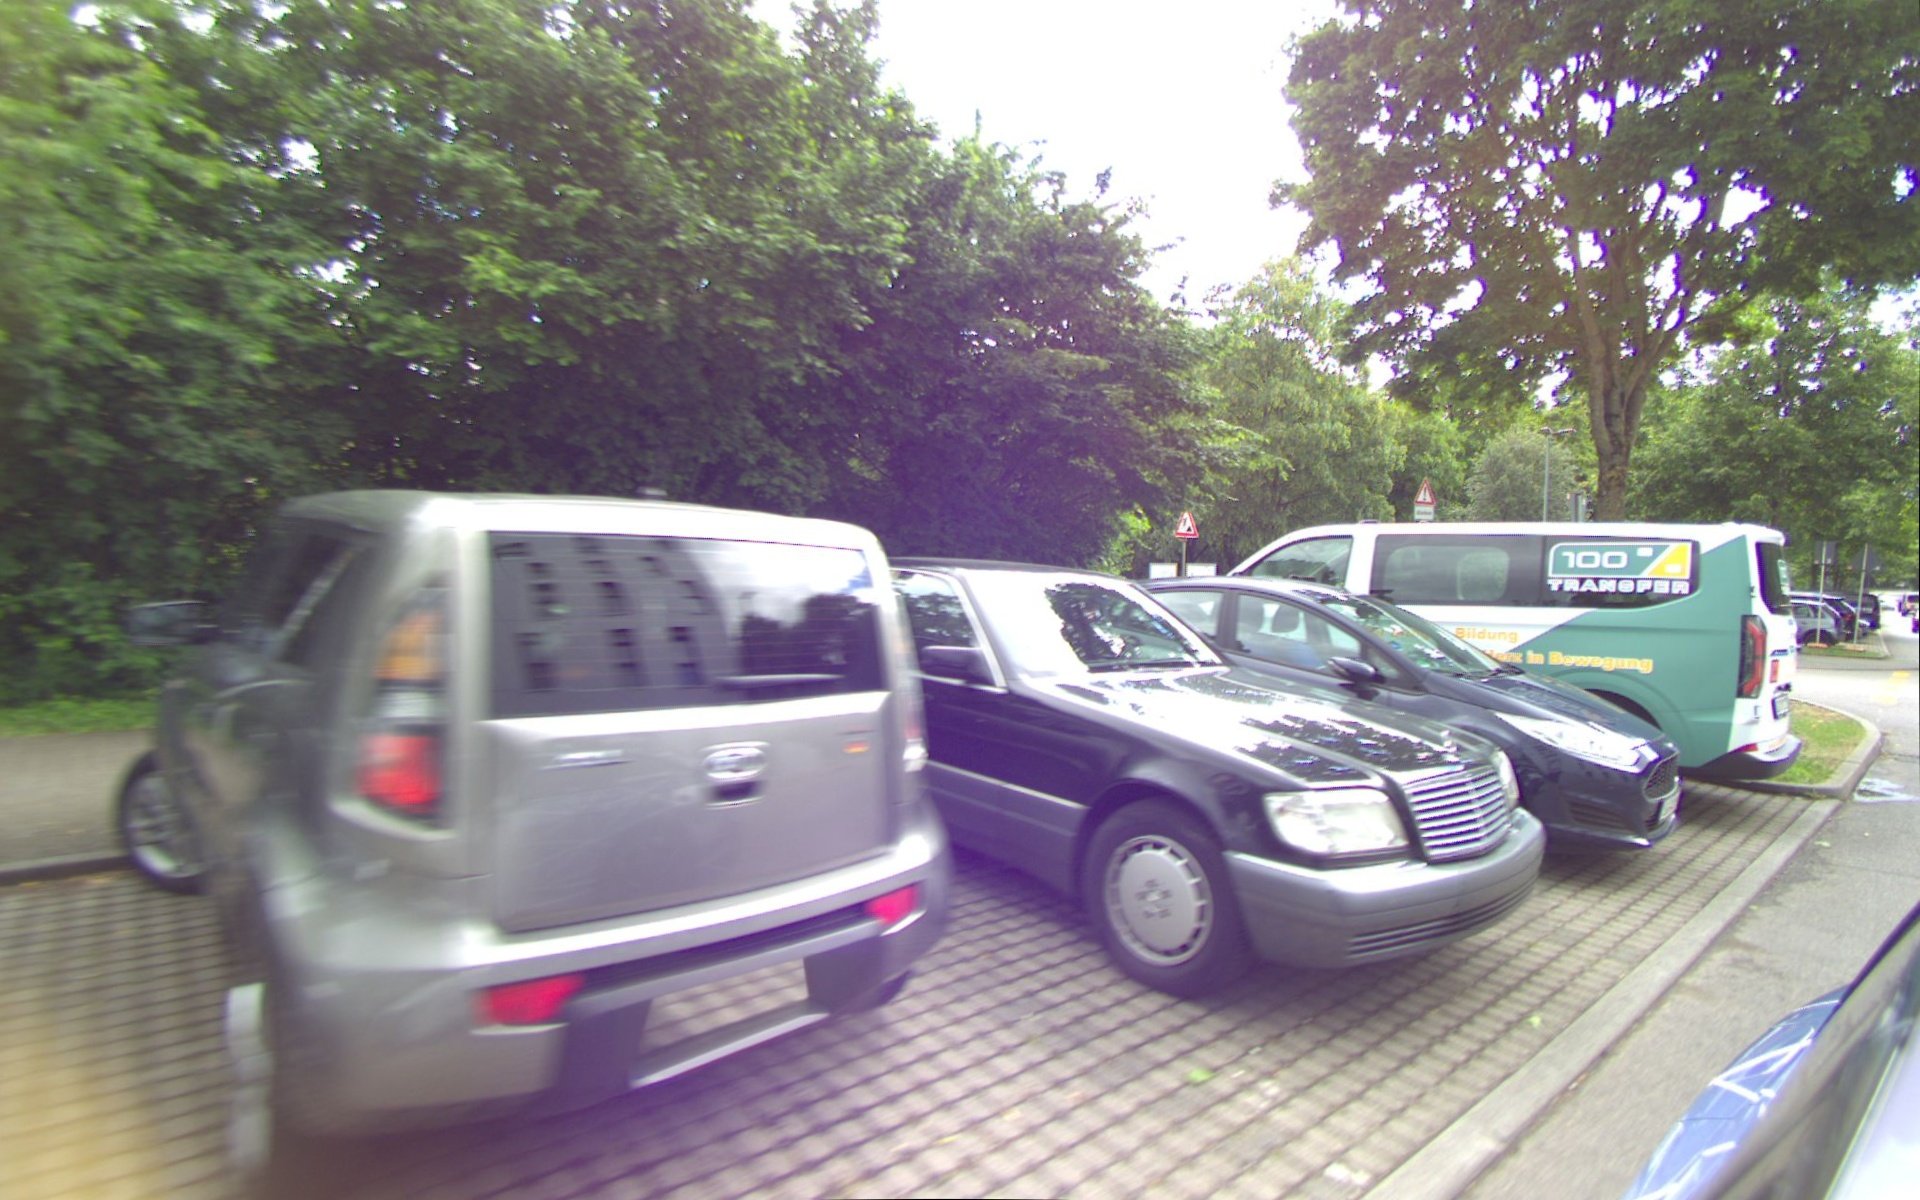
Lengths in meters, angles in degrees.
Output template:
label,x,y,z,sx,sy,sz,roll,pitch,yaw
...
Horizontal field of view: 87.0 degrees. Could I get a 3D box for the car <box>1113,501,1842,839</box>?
label,x,y,z,sx,sy,sz,roll,pitch,yaw
car,3.874,0.261,8.363,4.976,1.996,1.817,5,3,44

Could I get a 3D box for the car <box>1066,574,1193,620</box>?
label,x,y,z,sx,sy,sz,roll,pitch,yaw
car,5.969,-0.145,36.040,1.673,1.445,4.401,0,2,-41

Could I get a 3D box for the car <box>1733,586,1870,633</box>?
label,x,y,z,sx,sy,sz,roll,pitch,yaw
car,33.152,0.342,39.913,3.989,1.546,1.782,5,3,44

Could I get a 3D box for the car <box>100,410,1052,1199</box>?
label,x,y,z,sx,sy,sz,roll,pitch,yaw
car,-1.820,0.412,3.659,1.859,1.628,4.073,1,3,-42

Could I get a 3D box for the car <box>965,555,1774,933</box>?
label,x,y,z,sx,sy,sz,roll,pitch,yaw
car,2.303,0.571,6.846,1.815,1.535,4.713,1,3,-42

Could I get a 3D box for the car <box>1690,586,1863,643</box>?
label,x,y,z,sx,sy,sz,roll,pitch,yaw
car,24.410,0.381,30.333,1.822,1.420,3.836,0,4,-45

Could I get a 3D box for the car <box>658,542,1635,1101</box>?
label,x,y,z,sx,sy,sz,roll,pitch,yaw
car,0.417,0.525,5.255,2.021,1.451,4.734,1,3,-41

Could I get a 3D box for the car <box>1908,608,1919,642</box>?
label,x,y,z,sx,sy,sz,roll,pitch,yaw
car,50.832,1.294,52.772,1.912,1.738,4.961,1,1,42

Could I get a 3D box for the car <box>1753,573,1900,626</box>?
label,x,y,z,sx,sy,sz,roll,pitch,yaw
car,39.975,-0.038,46.773,4.959,2.038,2.131,6,3,45

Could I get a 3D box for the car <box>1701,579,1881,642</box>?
label,x,y,z,sx,sy,sz,roll,pitch,yaw
car,26.256,0.278,32.066,1.947,1.670,4.130,0,3,-43

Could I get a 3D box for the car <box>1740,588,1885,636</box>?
label,x,y,z,sx,sy,sz,roll,pitch,yaw
car,31.665,0.403,37.637,3.988,1.447,1.906,5,3,43
